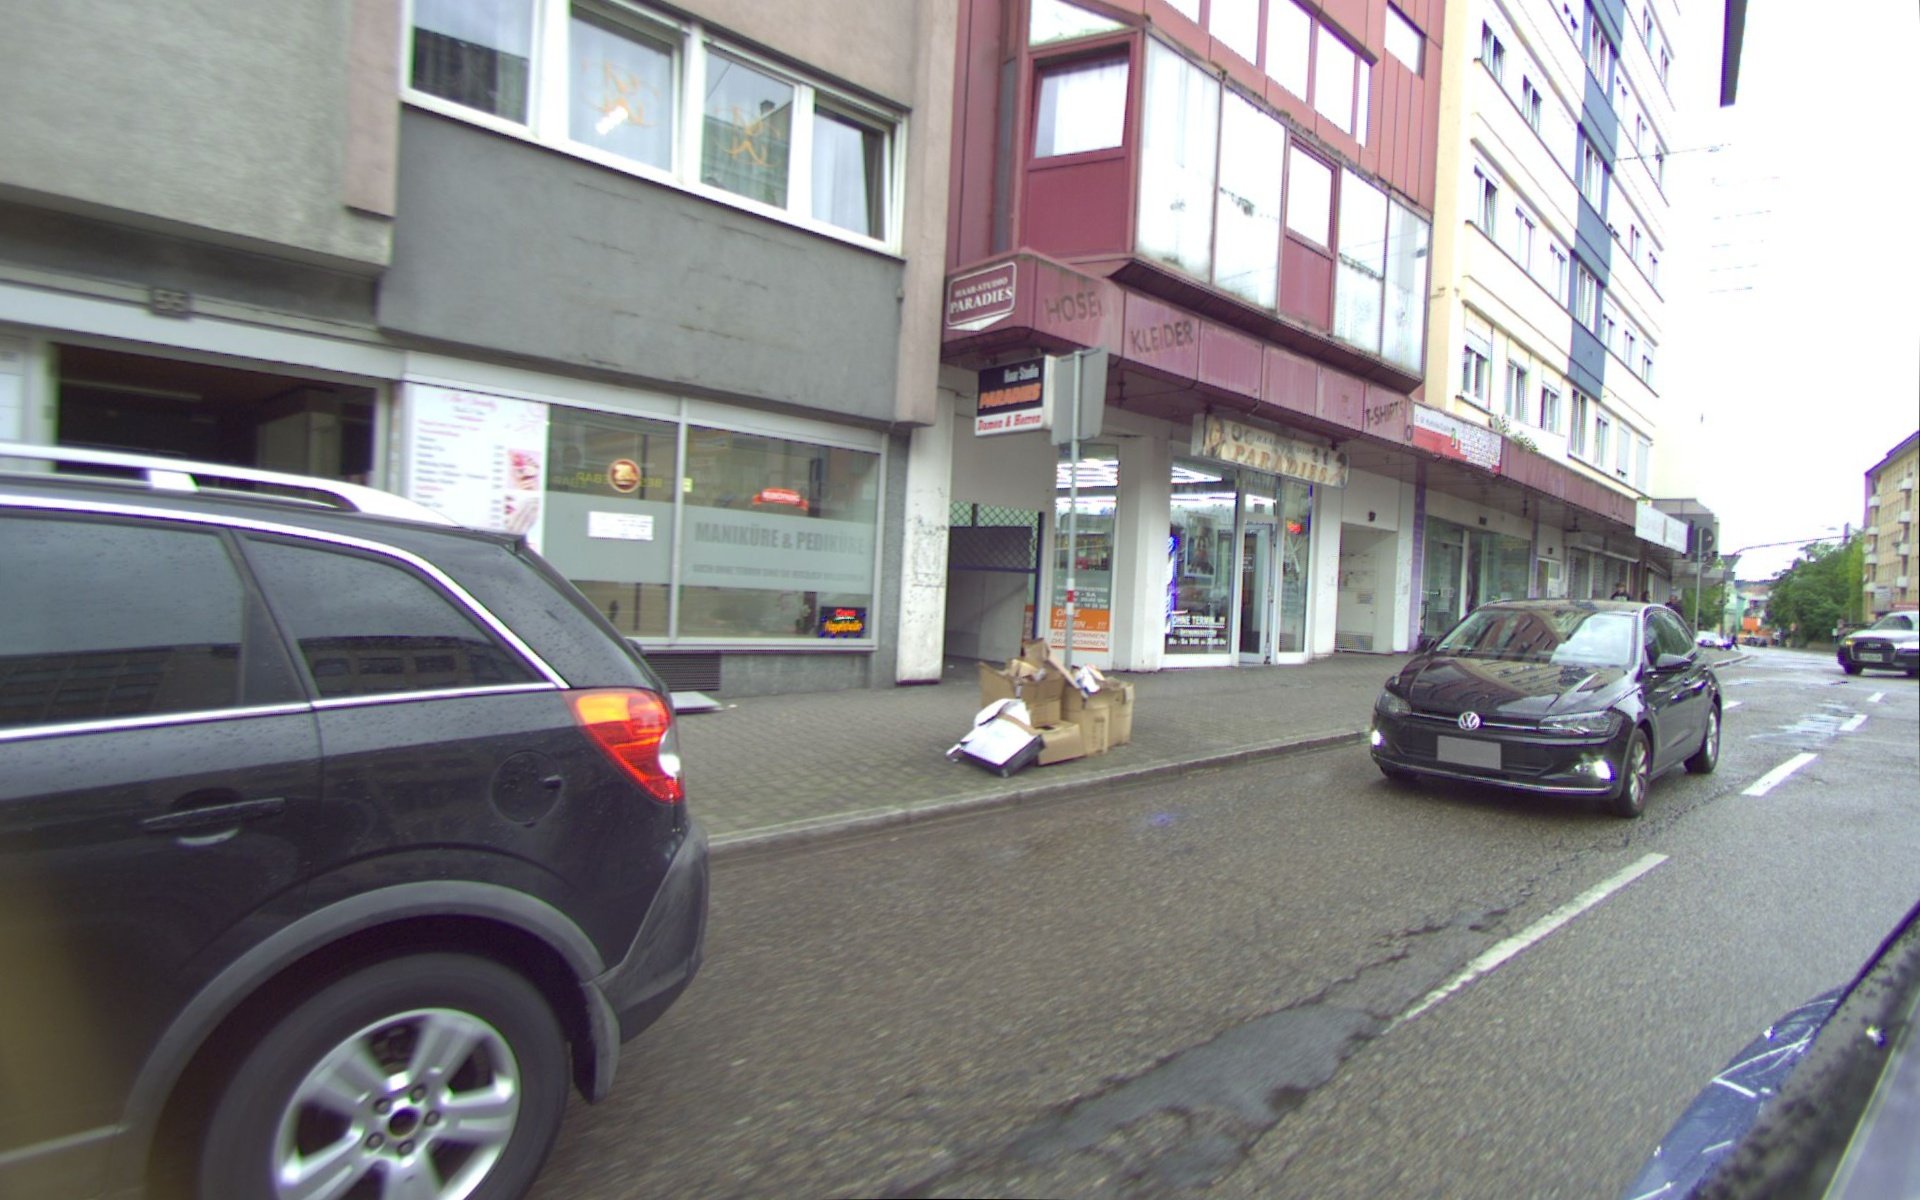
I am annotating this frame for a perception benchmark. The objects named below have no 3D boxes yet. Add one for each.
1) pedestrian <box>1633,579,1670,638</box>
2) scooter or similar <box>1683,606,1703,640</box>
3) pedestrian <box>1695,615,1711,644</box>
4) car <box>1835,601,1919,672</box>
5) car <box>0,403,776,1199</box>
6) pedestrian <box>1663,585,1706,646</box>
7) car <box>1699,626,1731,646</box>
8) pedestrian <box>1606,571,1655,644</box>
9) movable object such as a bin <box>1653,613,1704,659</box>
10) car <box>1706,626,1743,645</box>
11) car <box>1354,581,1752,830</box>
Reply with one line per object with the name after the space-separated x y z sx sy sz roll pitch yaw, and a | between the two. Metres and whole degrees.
21.452 0.273 31.412 0.772 1.786 0.618 2 -2 -22 | pedestrian
29.724 0.930 41.018 1.127 1.377 0.377 1 -1 -39 | scooter or similar
43.445 1.741 59.201 0.733 1.667 0.633 0 -1 37 | pedestrian
22.806 0.839 23.646 4.017 1.567 1.876 1 -1 -21 | car
-2.719 0.555 1.985 4.223 1.808 1.912 2 -1 -38 | car
21.279 0.457 29.737 0.737 1.745 0.755 2 -2 -22 | pedestrian
59.133 2.835 79.283 1.773 1.472 3.951 0 -2 34 | car
17.123 0.192 25.833 0.835 1.786 0.608 6 1 40 | pedestrian
16.282 0.820 22.942 0.659 0.945 0.533 4 3 -7 | movable object such as a bin
75.605 3.482 100.110 1.978 1.640 4.091 1 1 24 | car
4.822 0.612 7.996 3.816 1.448 1.739 0 2 -44 | car
